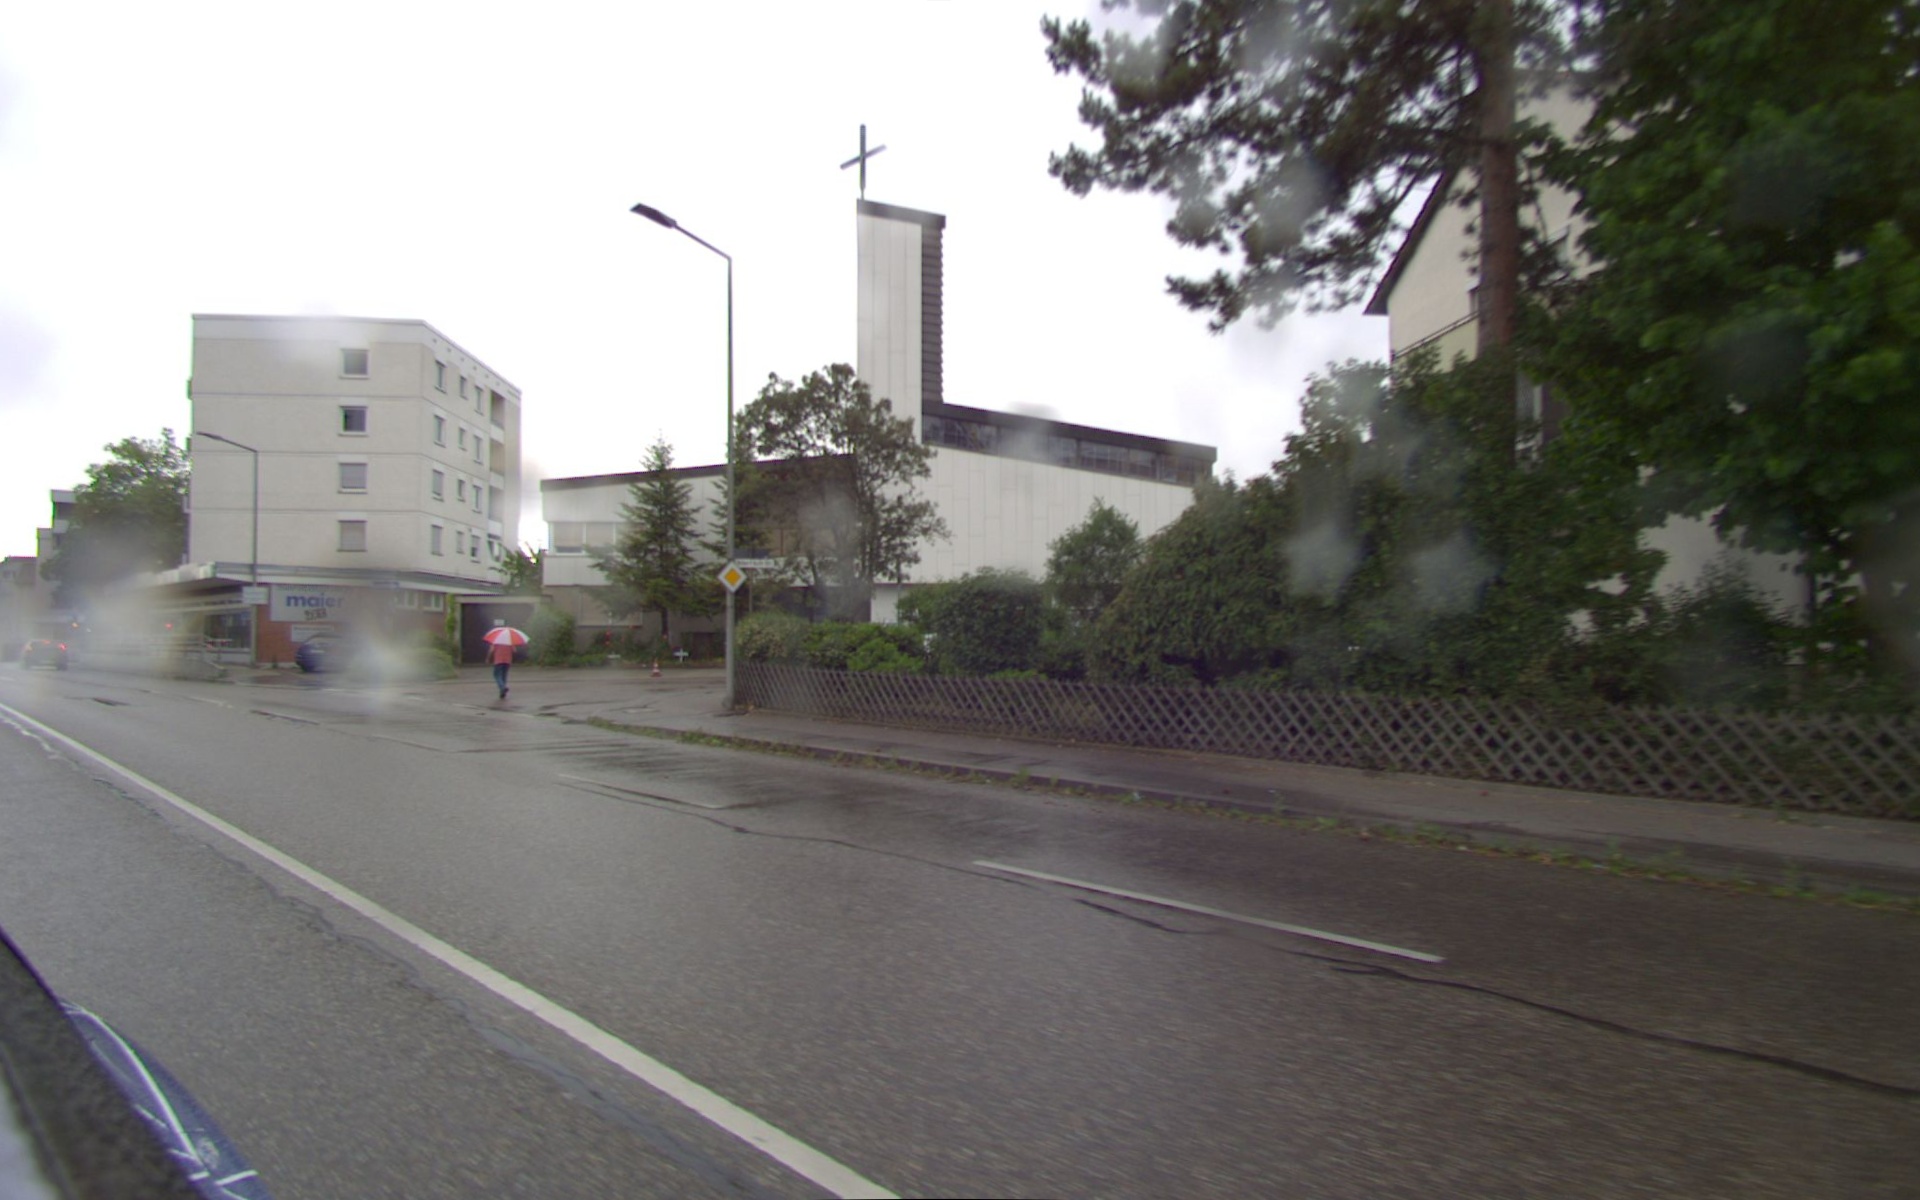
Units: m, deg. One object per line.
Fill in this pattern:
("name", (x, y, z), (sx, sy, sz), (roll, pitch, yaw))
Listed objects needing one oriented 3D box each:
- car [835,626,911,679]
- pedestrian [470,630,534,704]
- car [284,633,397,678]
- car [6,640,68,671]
("car", (-2.825, 1.708, 33.688), (2.103, 1.627, 4.385), (-1, -2, 1))
("pedestrian", (-10.335, 1.490, 22.850), (1.101, 1.619, 0.861), (-1, -2, 35))
("car", (-23.481, 2.074, 38.560), (1.969, 1.558, 4.477), (0, -1, -6))
("car", (-45.936, 2.786, 50.361), (3.996, 1.420, 1.680), (-3, -6, 40))
